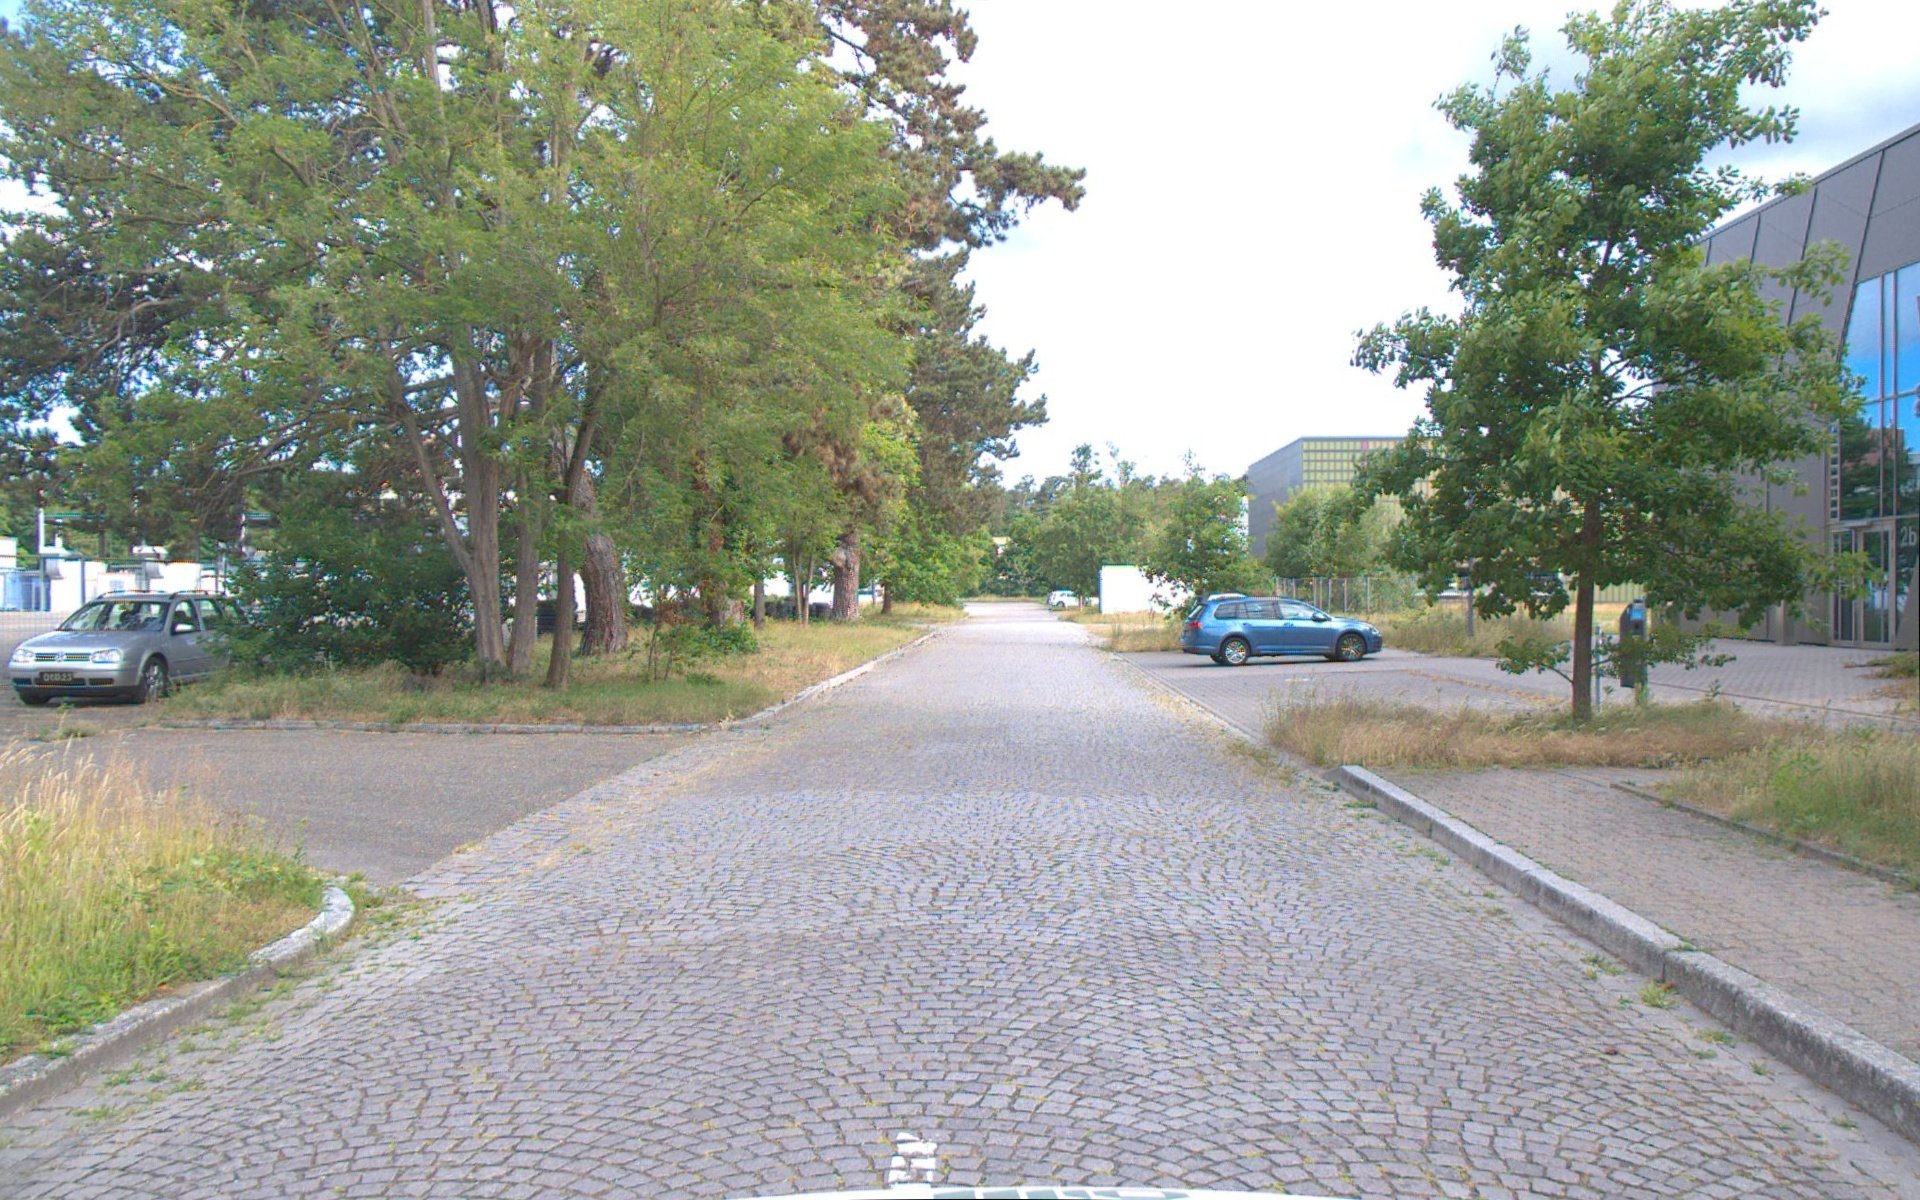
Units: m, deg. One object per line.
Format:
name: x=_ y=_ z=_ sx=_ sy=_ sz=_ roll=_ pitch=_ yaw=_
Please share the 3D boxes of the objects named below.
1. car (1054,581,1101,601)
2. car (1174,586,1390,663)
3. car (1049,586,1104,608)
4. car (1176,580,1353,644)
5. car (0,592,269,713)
car: x=10.738 y=-0.838 z=151.870 sx=4.263 sy=1.811 sz=1.926 roll=0 pitch=0 yaw=3
car: x=7.216 y=0.526 z=37.351 sx=4.426 sy=1.558 sz=1.999 roll=-2 pitch=0 yaw=-2
car: x=9.198 y=-0.271 z=130.907 sx=4.265 sy=1.717 sz=1.925 roll=0 pitch=0 yaw=1
car: x=8.159 y=0.300 z=44.669 sx=4.423 sy=1.558 sz=2.001 roll=-2 pitch=0 yaw=2
car: x=-11.474 y=0.650 z=23.063 sx=1.880 sy=1.502 sz=4.368 roll=0 pitch=1 yaw=-1
